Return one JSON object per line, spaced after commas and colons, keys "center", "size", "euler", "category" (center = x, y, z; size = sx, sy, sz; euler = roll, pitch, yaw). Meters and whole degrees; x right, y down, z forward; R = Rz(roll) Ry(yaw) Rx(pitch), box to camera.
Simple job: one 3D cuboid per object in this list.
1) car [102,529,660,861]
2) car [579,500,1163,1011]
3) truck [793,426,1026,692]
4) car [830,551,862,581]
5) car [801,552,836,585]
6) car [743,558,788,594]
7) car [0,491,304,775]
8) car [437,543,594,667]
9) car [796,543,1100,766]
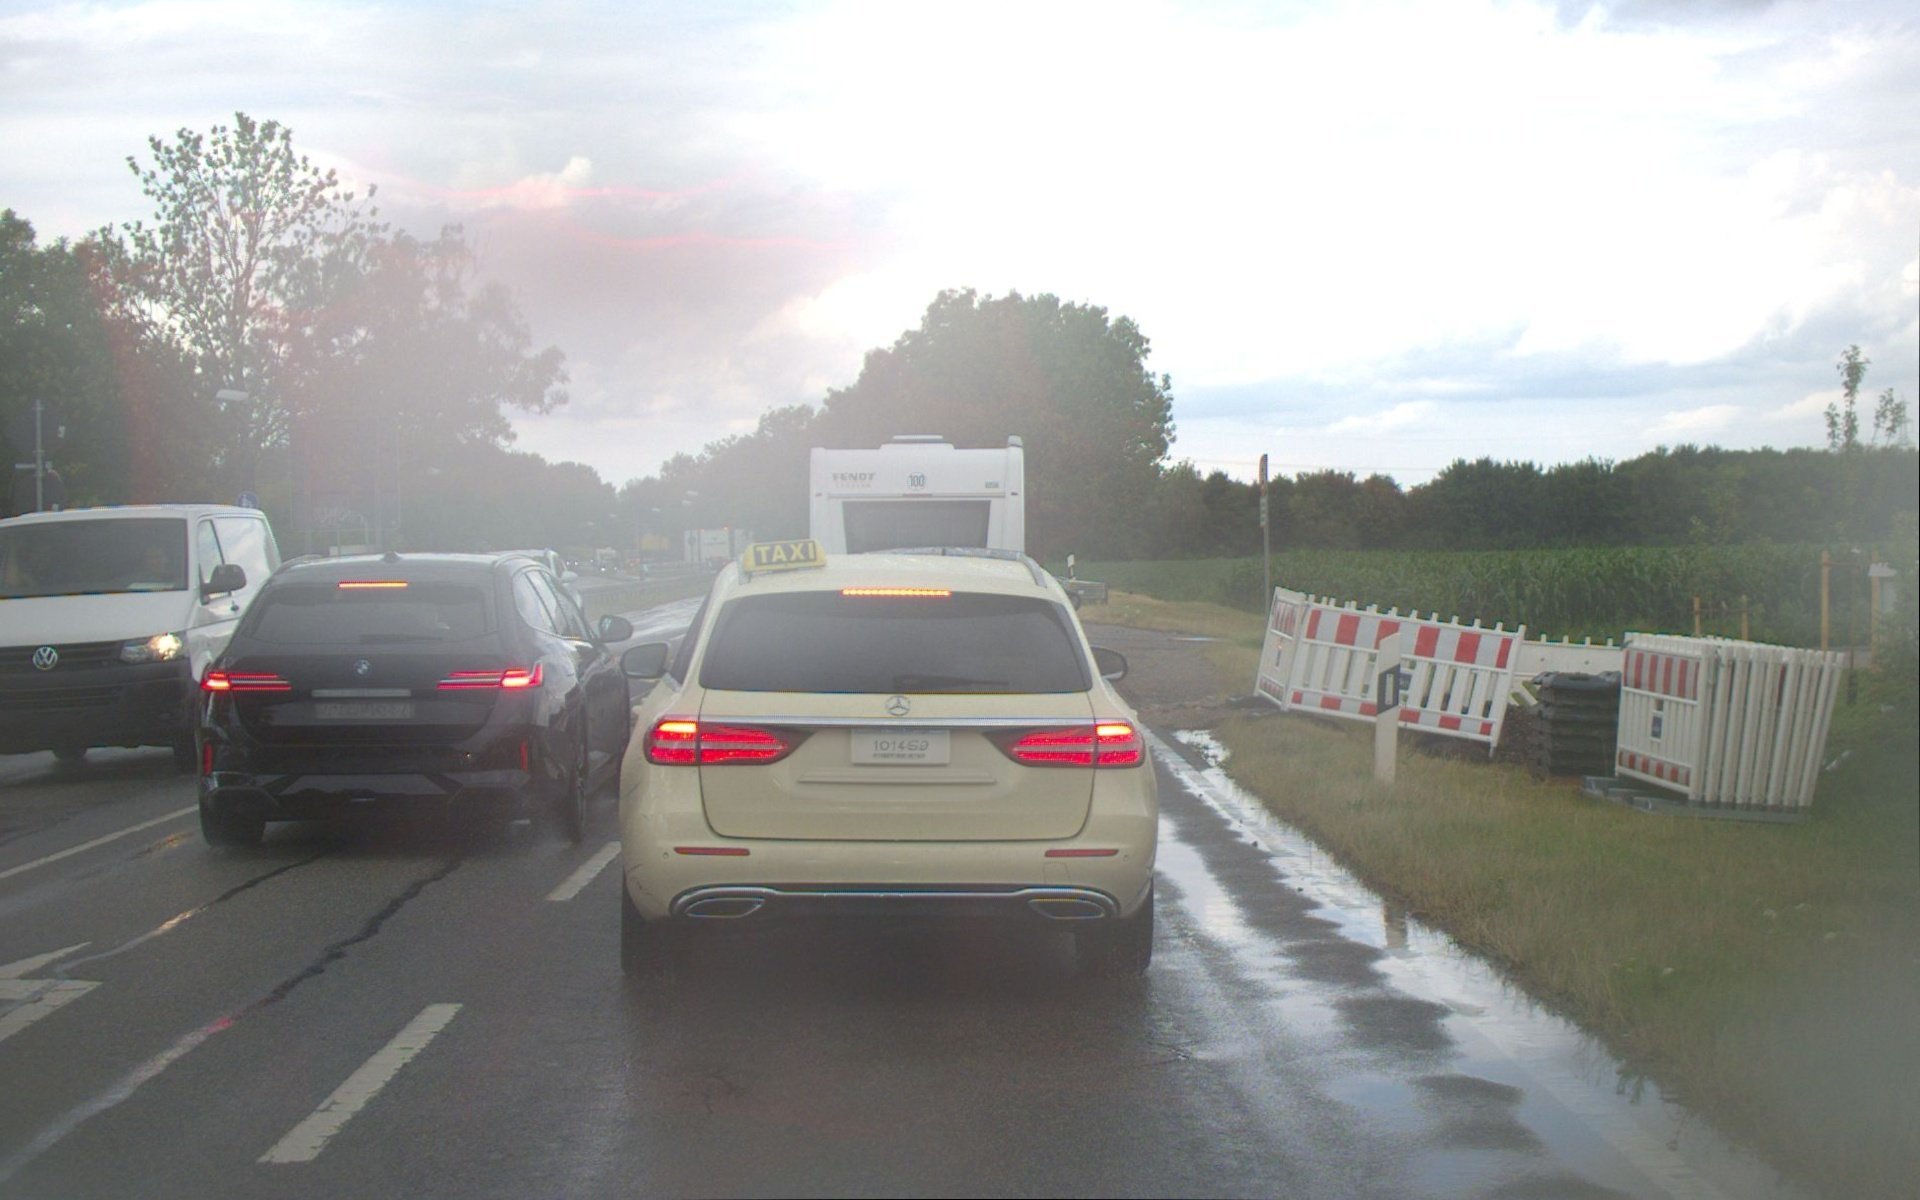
{"center": [-2.933, 0.428, 18.551], "size": [2.302, 1.542, 4.633], "euler": [1, 1, -1], "category": "car"}
{"center": [-0.320, 0.467, 12.865], "size": [1.842, 1.612, 4.000], "euler": [0, 1, -1], "category": "car"}
{"center": [-0.596, -0.490, 39.547], "size": [2.363, 2.719, 7.315], "euler": [-1, 1, -1], "category": "truck"}
{"center": [-6.047, -1.793, 182.581], "size": [1.682, 1.545, 3.753], "euler": [1, 1, -1], "category": "car"}
{"center": [-8.553, -1.908, 207.524], "size": [1.895, 1.888, 3.844], "euler": [-1, 1, -4], "category": "car"}
{"center": [-8.094, -1.013, 143.274], "size": [1.719, 1.399, 4.044], "euler": [-3, 1, -2], "category": "car"}
{"center": [-6.274, 0.218, 25.549], "size": [1.916, 1.855, 4.685], "euler": [-3, 1, -1], "category": "car"}
{"center": [-6.506, 0.044, 50.693], "size": [1.704, 1.665, 4.156], "euler": [-3, 1, 0], "category": "car"}
{"center": [-0.118, 0.341, 24.752], "size": [1.993, 1.457, 4.000], "euler": [1, 1, -1], "category": "car"}
